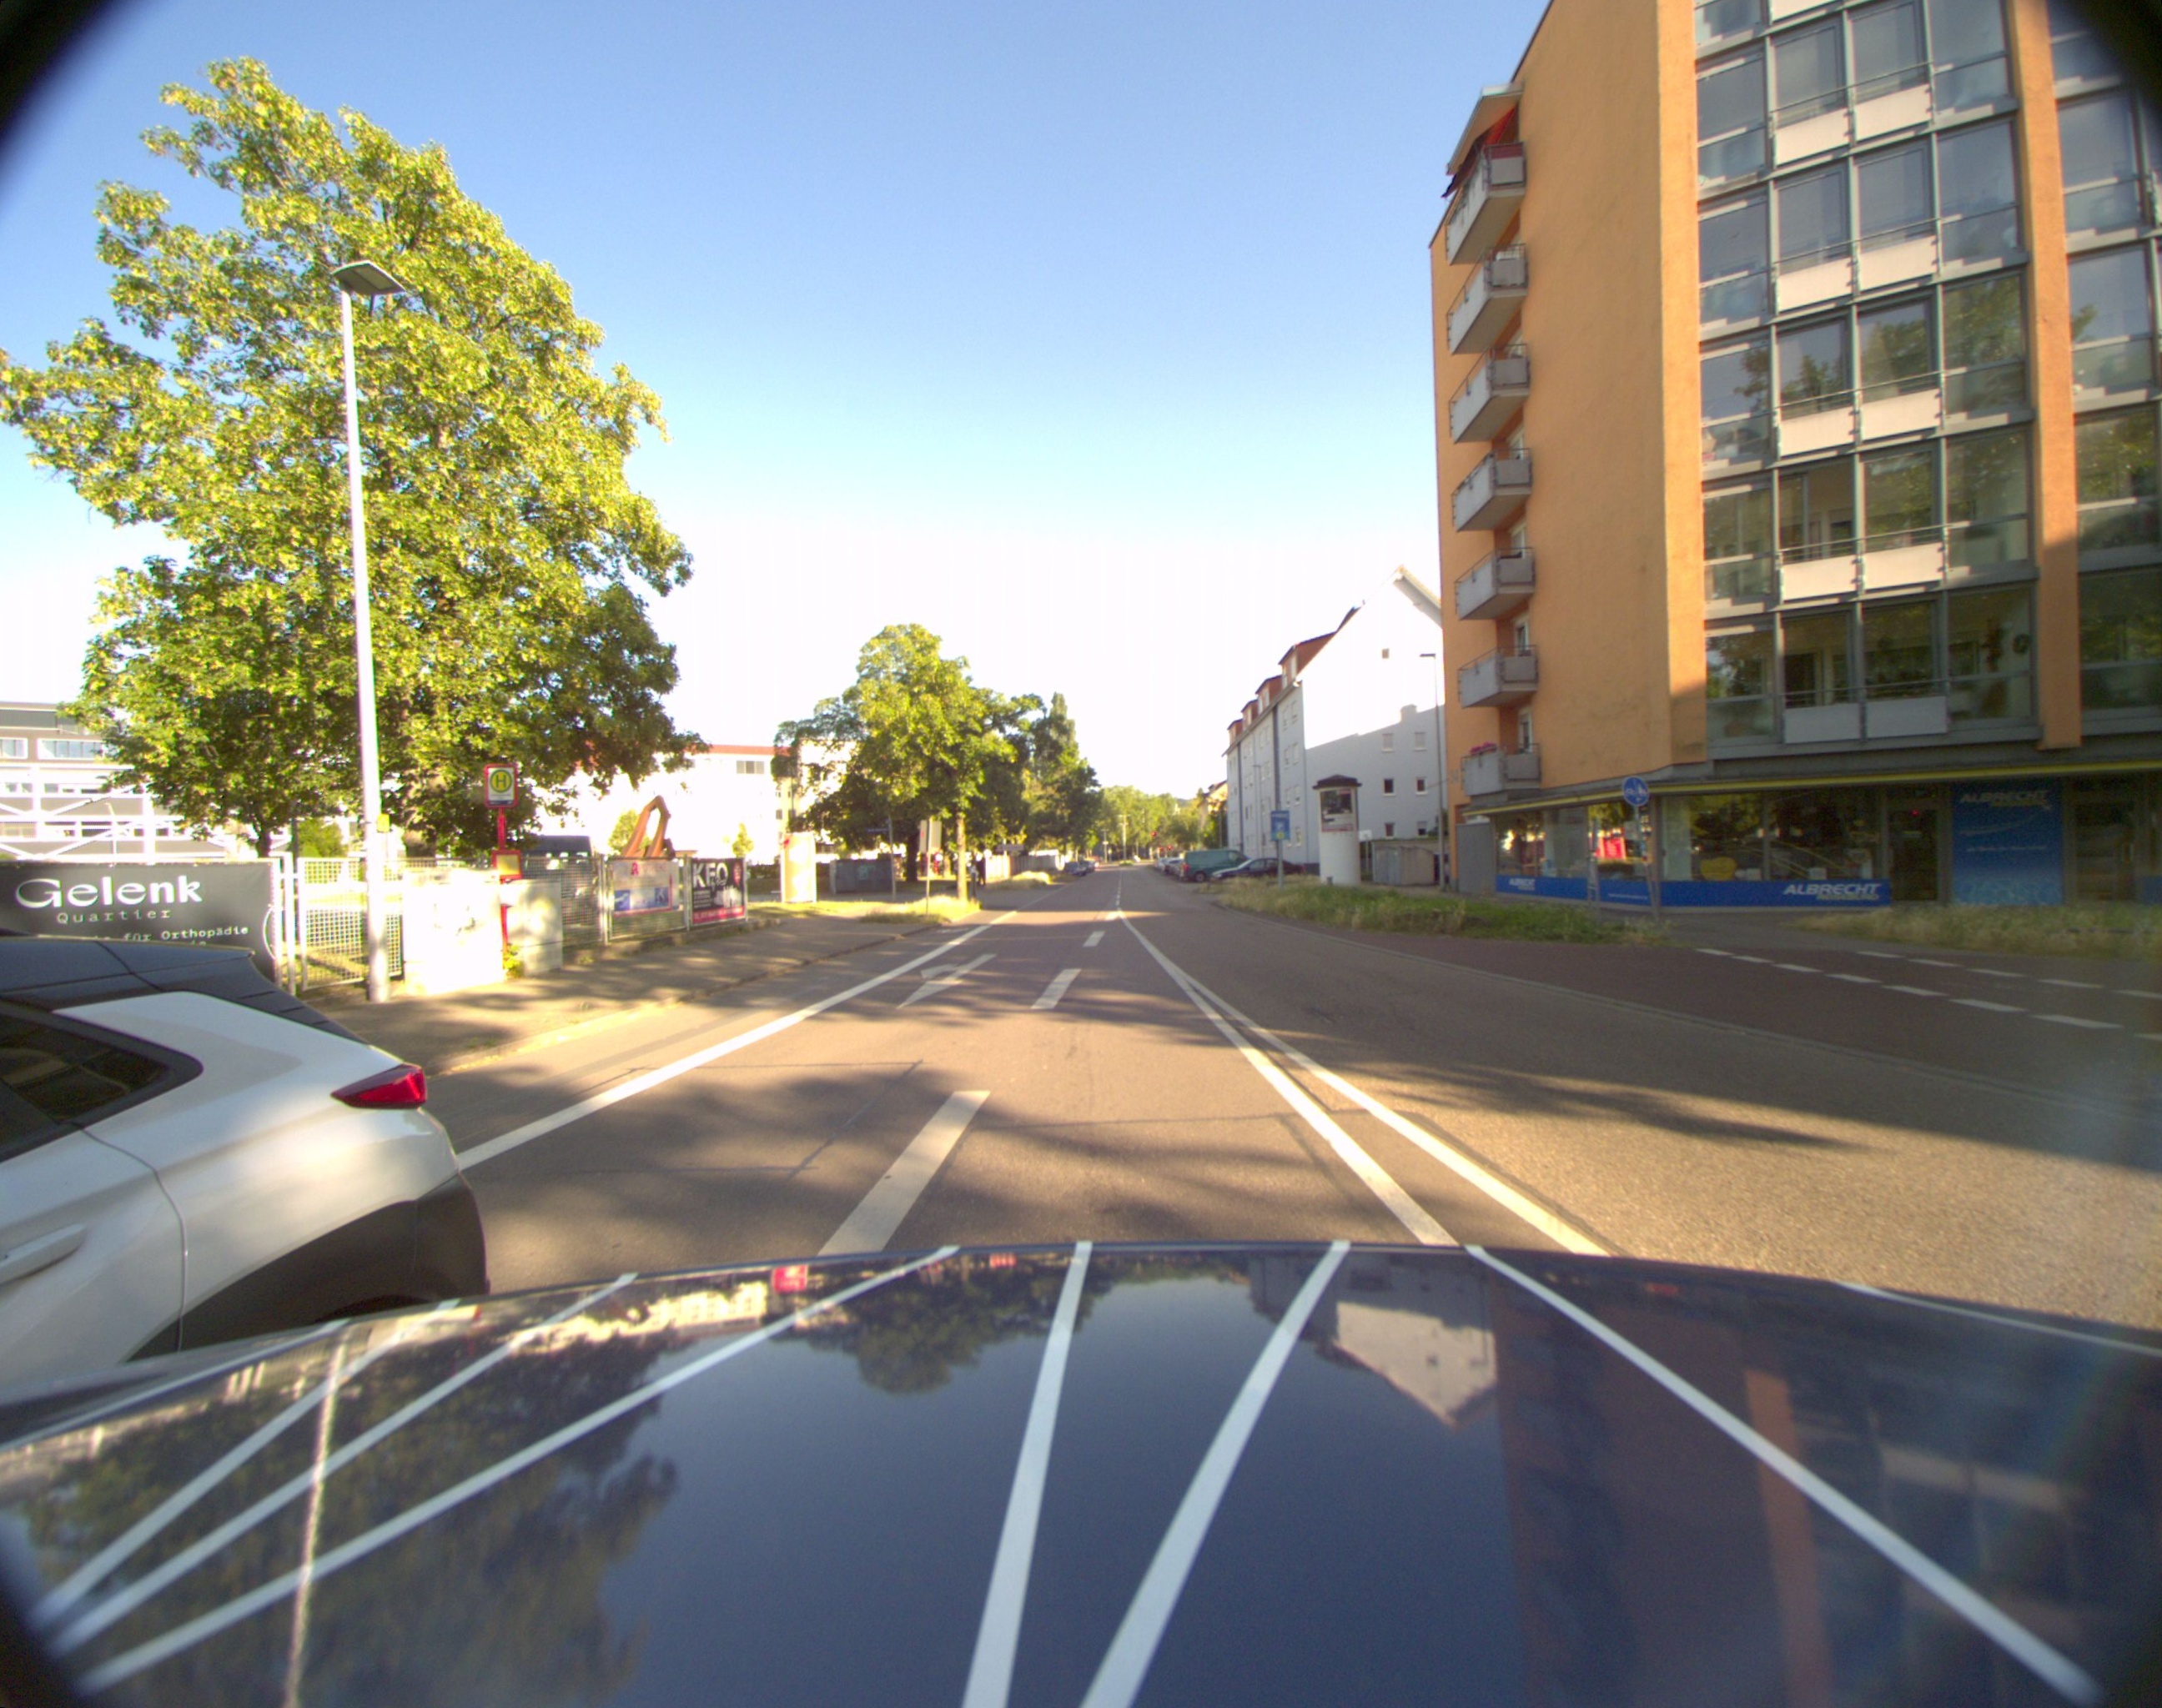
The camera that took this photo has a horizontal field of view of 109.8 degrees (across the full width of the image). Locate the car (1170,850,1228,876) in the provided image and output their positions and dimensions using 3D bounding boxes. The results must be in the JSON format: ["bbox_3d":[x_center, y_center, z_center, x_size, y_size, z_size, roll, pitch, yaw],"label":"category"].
[{"bbox_3d":[8.742,0.654,56.441,4.071,1.741,1.899,-2,1,5],"label":"car"}]

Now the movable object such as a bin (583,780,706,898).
[{"bbox_3d":[-22.234,-0.710,38.552,3.986,5.447,6.016,-3,1,-42],"label":"movable object such as a bin"}]

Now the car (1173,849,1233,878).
[{"bbox_3d":[8.565,0.659,53.697,4.059,1.805,1.937,-2,1,5],"label":"car"}]

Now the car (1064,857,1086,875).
[{"bbox_3d":[-0.593,1.140,73.947,1.998,1.521,3.999,-2,1,1],"label":"car"}]

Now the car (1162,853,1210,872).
[{"bbox_3d":[9.562,0.763,69.378,4.257,1.564,1.867,-2,1,5],"label":"car"}]

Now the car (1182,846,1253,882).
[{"bbox_3d":[8.188,0.586,45.943,3.996,1.936,2.000,-2,1,4],"label":"car"}]

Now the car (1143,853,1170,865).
[{"bbox_3d":[10.459,0.691,105.246,3.538,1.564,1.867,-2,1,5],"label":"car"}]

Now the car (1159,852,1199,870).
[{"bbox_3d":[10.253,0.714,80.071,4.071,1.741,1.899,-2,1,5],"label":"car"}]

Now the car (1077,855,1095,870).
[{"bbox_3d":[0.562,0.938,87.980,1.998,1.521,3.999,-2,1,1],"label":"car"}]

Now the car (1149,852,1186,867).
[{"bbox_3d":[10.216,0.633,90.194,4.257,1.564,1.867,-2,1,5],"label":"car"}]

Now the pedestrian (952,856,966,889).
[{"bbox_3d":[-6.509,0.969,40.652,0.609,1.727,0.638,-2,1,-5],"label":"pedestrian"}]

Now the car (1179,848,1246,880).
[{"bbox_3d":[8.350,0.615,48.591,3.995,1.805,2.000,-2,1,5],"label":"car"}]

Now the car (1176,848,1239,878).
[{"bbox_3d":[8.494,0.579,51.347,3.995,1.805,2.000,-2,1,5],"label":"car"}]

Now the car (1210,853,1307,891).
[{"bbox_3d":[8.509,0.860,36.847,4.423,1.652,2.001,-2,1,9],"label":"car"}]

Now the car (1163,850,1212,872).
[{"bbox_3d":[9.268,0.598,66.492,4.117,1.762,1.757,-2,1,5],"label":"car"}]

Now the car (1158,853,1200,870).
[{"bbox_3d":[10.301,0.745,79.935,4.257,1.564,1.867,-2,1,5],"label":"car"}]

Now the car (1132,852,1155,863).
[{"bbox_3d":[9.695,0.574,118.227,3.538,1.564,1.867,-2,1,5],"label":"car"}]

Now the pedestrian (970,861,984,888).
[{"bbox_3d":[-5.525,1.088,40.498,0.609,1.426,0.639,-2,1,1],"label":"pedestrian"}]

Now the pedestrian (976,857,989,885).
[{"bbox_3d":[-6.003,1.018,46.438,0.696,1.659,0.638,-2,1,-5],"label":"pedestrian"}]

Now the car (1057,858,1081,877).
[{"bbox_3d":[-1.096,1.208,69.599,1.998,1.521,3.999,-2,1,1],"label":"car"}]
